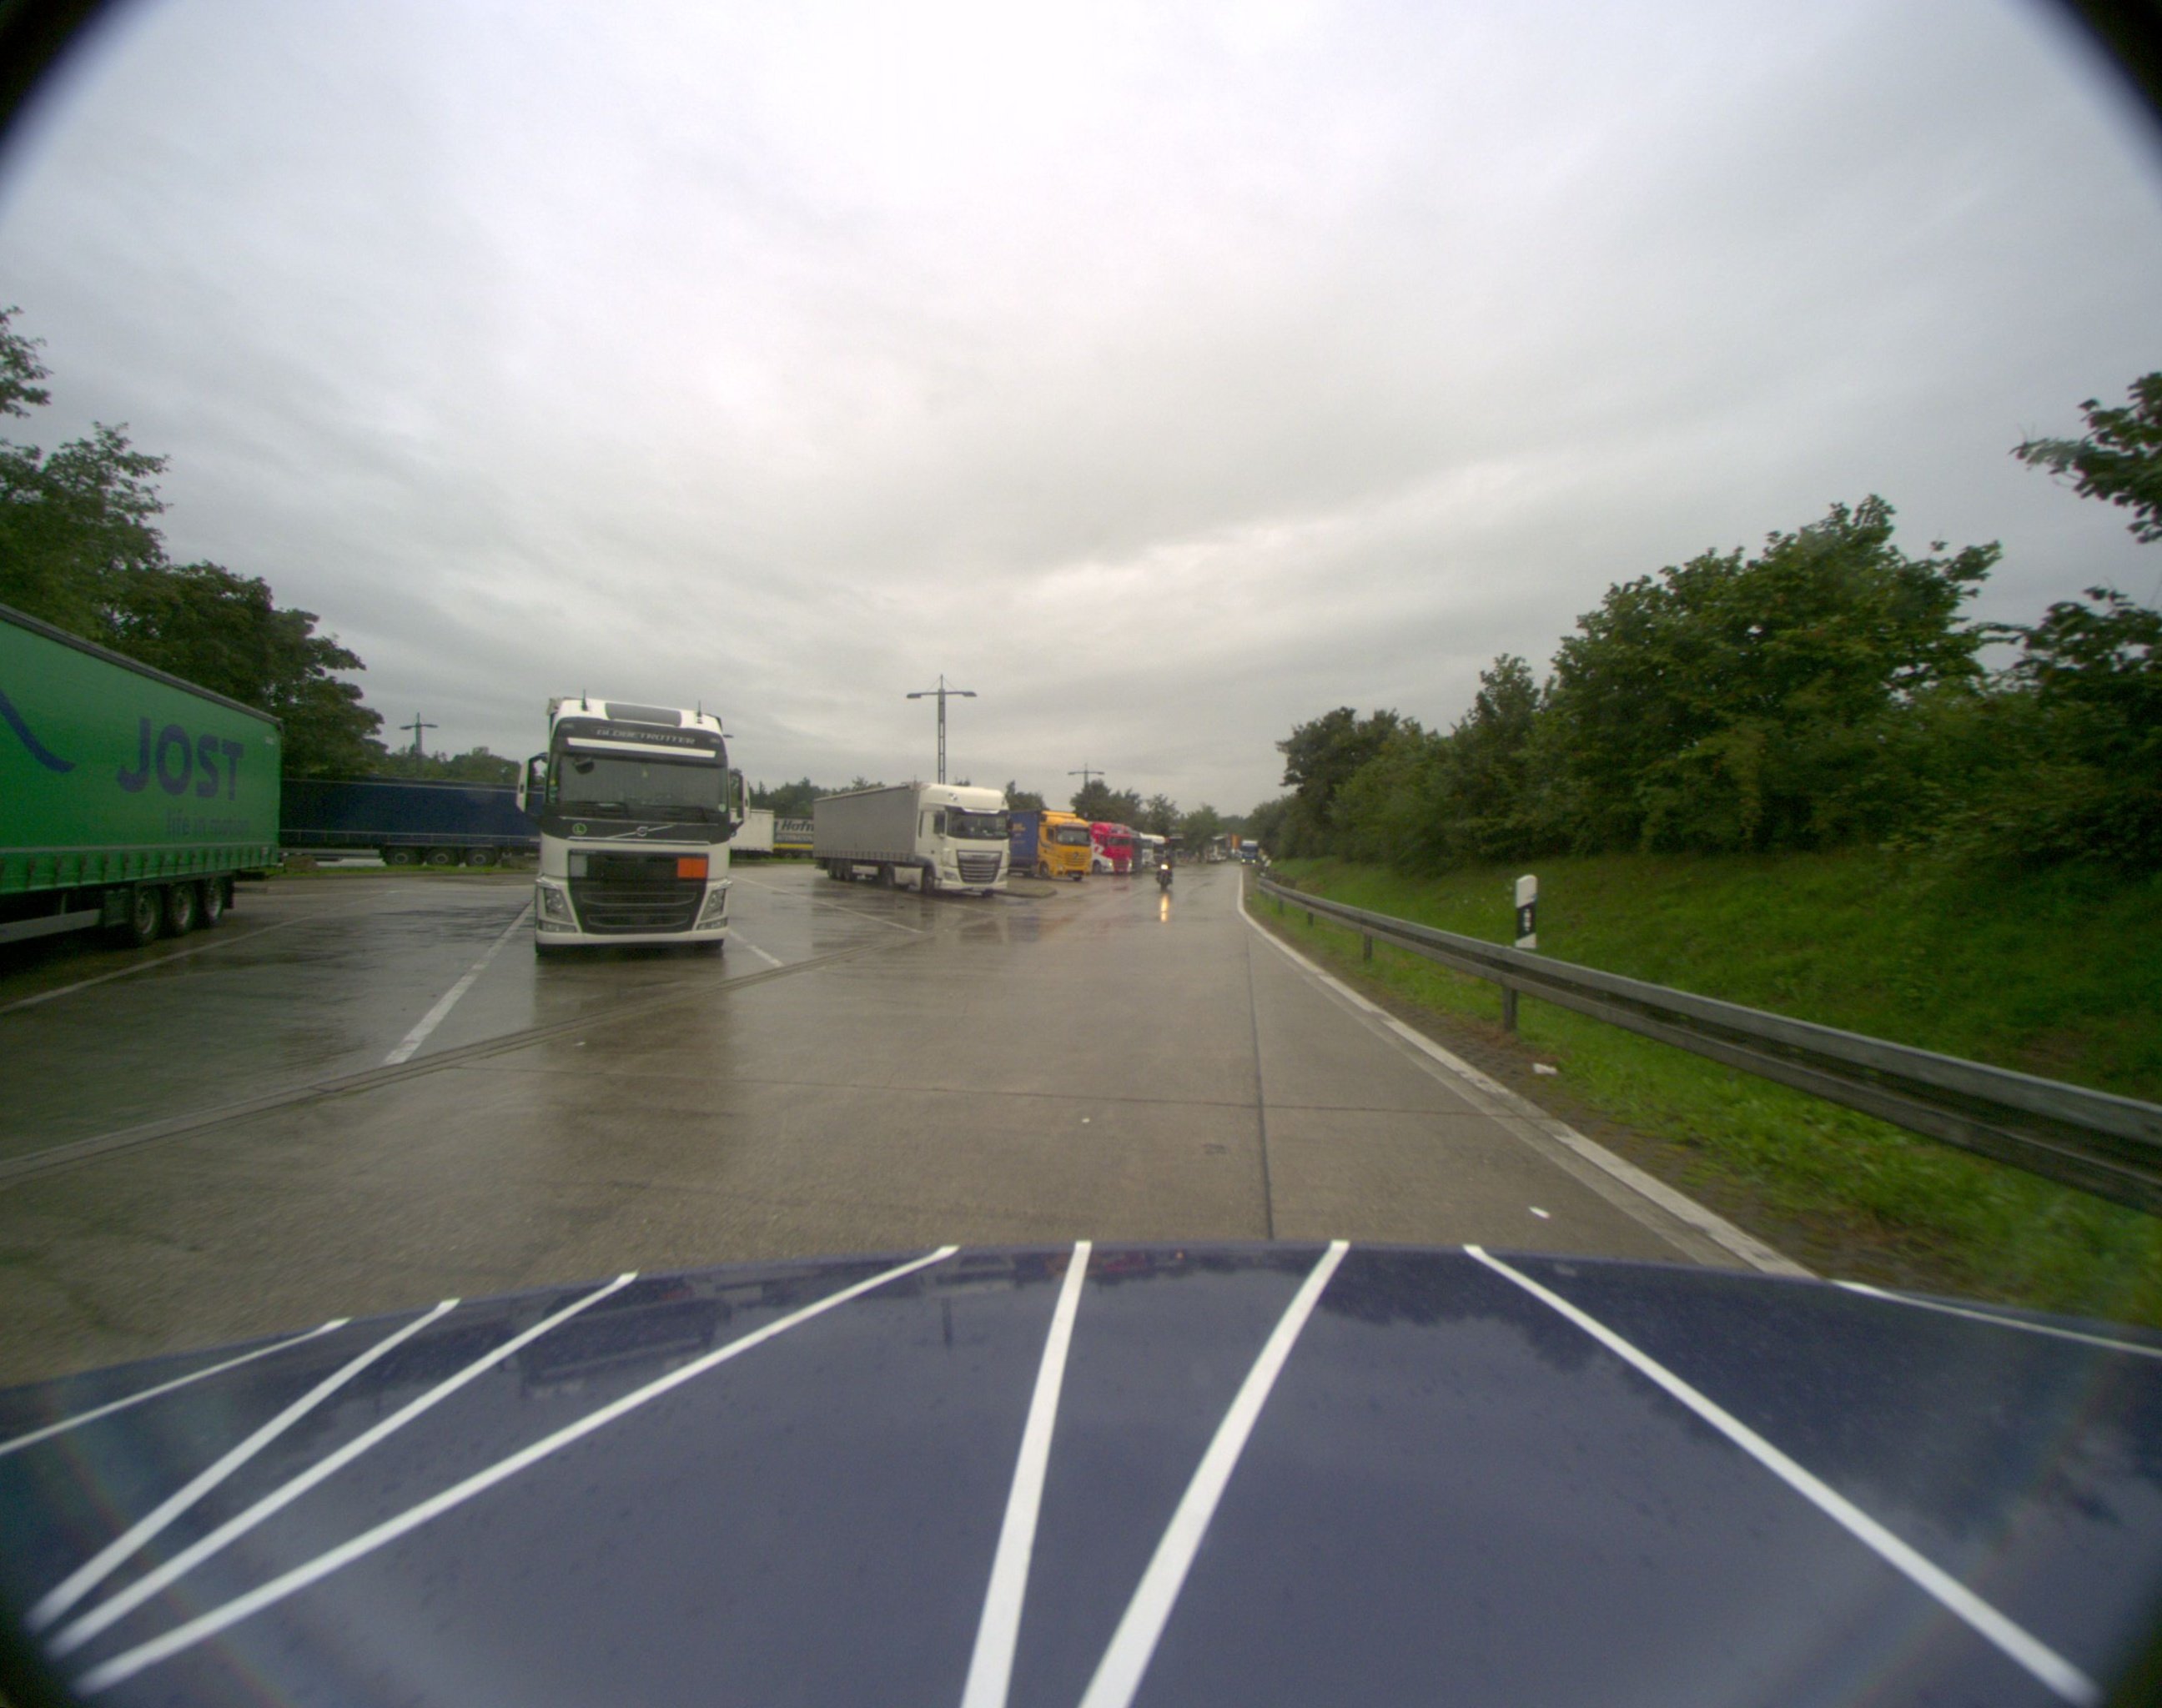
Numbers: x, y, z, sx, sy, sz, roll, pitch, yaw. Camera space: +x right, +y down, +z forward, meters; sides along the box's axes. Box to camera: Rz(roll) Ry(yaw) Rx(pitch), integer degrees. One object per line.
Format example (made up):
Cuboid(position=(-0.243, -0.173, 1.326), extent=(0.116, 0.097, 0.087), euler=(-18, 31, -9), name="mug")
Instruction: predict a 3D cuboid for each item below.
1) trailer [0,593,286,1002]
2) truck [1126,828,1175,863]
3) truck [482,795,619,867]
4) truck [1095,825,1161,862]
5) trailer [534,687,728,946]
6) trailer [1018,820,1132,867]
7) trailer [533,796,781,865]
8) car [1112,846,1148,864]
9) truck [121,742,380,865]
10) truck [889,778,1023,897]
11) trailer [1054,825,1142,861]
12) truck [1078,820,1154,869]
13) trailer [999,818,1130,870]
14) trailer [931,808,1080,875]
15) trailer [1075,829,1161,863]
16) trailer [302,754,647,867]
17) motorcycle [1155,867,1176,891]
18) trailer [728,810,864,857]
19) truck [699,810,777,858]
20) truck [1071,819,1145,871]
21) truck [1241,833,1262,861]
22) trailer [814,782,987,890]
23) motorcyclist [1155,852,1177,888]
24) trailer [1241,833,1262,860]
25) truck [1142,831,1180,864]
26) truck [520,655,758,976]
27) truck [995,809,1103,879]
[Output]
Cuboid(position=(-13.632, -0.656, 9.136), extent=(2.832, 4.126, 13.928), euler=(1, 1, -35), name="trailer")
Cuboid(position=(8.831, -1.089, 96.944), extent=(3.252, 4.361, 5.797), euler=(0, 1, -36), name="truck")
Cuboid(position=(-33.233, -1.428, 47.903), extent=(6.795, 4.250, 2.661), euler=(-2, 1, -33), name="truck")
Cuboid(position=(5.380, -1.256, 88.512), extent=(3.252, 4.068, 7.916), euler=(1, 1, -36), name="truck")
Cuboid(position=(-11.386, -0.757, 18.821), extent=(2.832, 4.147, 13.956), euler=(1, 1, -33), name="trailer")
Cuboid(position=(-0.901, -1.038, 69.634), extent=(2.882, 3.897, 13.896), euler=(1, 1, -36), name="trailer")
Cuboid(position=(-28.078, -1.641, 51.288), extent=(14.189, 4.233, 2.661), euler=(-2, 1, -33), name="trailer")
Cuboid(position=(5.273, 0.101, 82.456), extent=(1.852, 1.848, 3.989), euler=(0, 1, -34), name="car")
Cuboid(position=(-33.504, -1.855, 31.137), extent=(6.548, 4.481, 3.250), euler=(1, 1, -34), name="truck")
Cuboid(position=(-4.744, -0.567, 28.031), extent=(2.836, 3.890, 5.396), euler=(1, 1, -34), name="truck")
Cuboid(position=(1.860, -1.394, 93.394), extent=(3.252, 4.068, 13.494), euler=(1, 1, -36), name="trailer")
Cuboid(position=(2.865, -0.818, 64.445), extent=(2.905, 3.897, 6.537), euler=(1, 1, -36), name="truck")
Cuboid(position=(-1.873, -0.936, 65.015), extent=(3.252, 3.897, 14.788), euler=(1, 1, -36), name="trailer")
Cuboid(position=(-5.754, -0.919, 51.969), extent=(2.874, 3.897, 16.589), euler=(1, 1, -32), name="trailer")
Cuboid(position=(4.747, -1.098, 102.563), extent=(3.252, 4.361, 14.356), euler=(0, 1, -36), name="trailer")
Cuboid(position=(-27.285, -1.721, 35.339), extent=(12.055, 4.448, 3.250), euler=(1, 1, -34), name="trailer")
Cuboid(position=(3.789, 1.100, 34.054), extent=(0.877, 1.016, 2.354), euler=(2, 0, 6), name="motorcycle")
Cuboid(position=(-23.900, -1.778, 64.211), extent=(10.406, 3.733, 2.064), euler=(-2, 1, -35), name="trailer")
Cuboid(position=(-27.729, -1.627, 61.498), extent=(5.349, 3.733, 2.064), euler=(-2, 1, -35), name="truck")
Cuboid(position=(2.067, -0.728, 59.559), extent=(3.252, 3.897, 5.007), euler=(1, 1, -36), name="truck")
Cuboid(position=(28.201, -1.169, 125.856), extent=(3.240, 4.361, 6.319), euler=(1, 1, 12), name="truck")
Cuboid(position=(-8.641, -0.805, 33.907), extent=(2.850, 3.897, 13.916), euler=(1, 1, -33), name="trailer")
Cuboid(position=(3.796, 0.699, 33.992), extent=(0.877, 1.558, 1.374), euler=(2, 0, 6), name="motorcyclist")
Cuboid(position=(29.633, -1.290, 132.258), extent=(3.240, 4.361, 13.778), euler=(1, 1, 12), name="trailer")
Cuboid(position=(10.749, -0.880, 102.112), extent=(2.611, 4.361, 4.616), euler=(0, 1, -36), name="truck")
Cuboid(position=(-7.452, -0.536, 12.749), extent=(2.832, 4.122, 5.288), euler=(1, 1, -33), name="truck")
Cuboid(position=(-2.166, -0.648, 46.352), extent=(2.846, 3.897, 8.109), euler=(1, 1, -32), name="truck")
